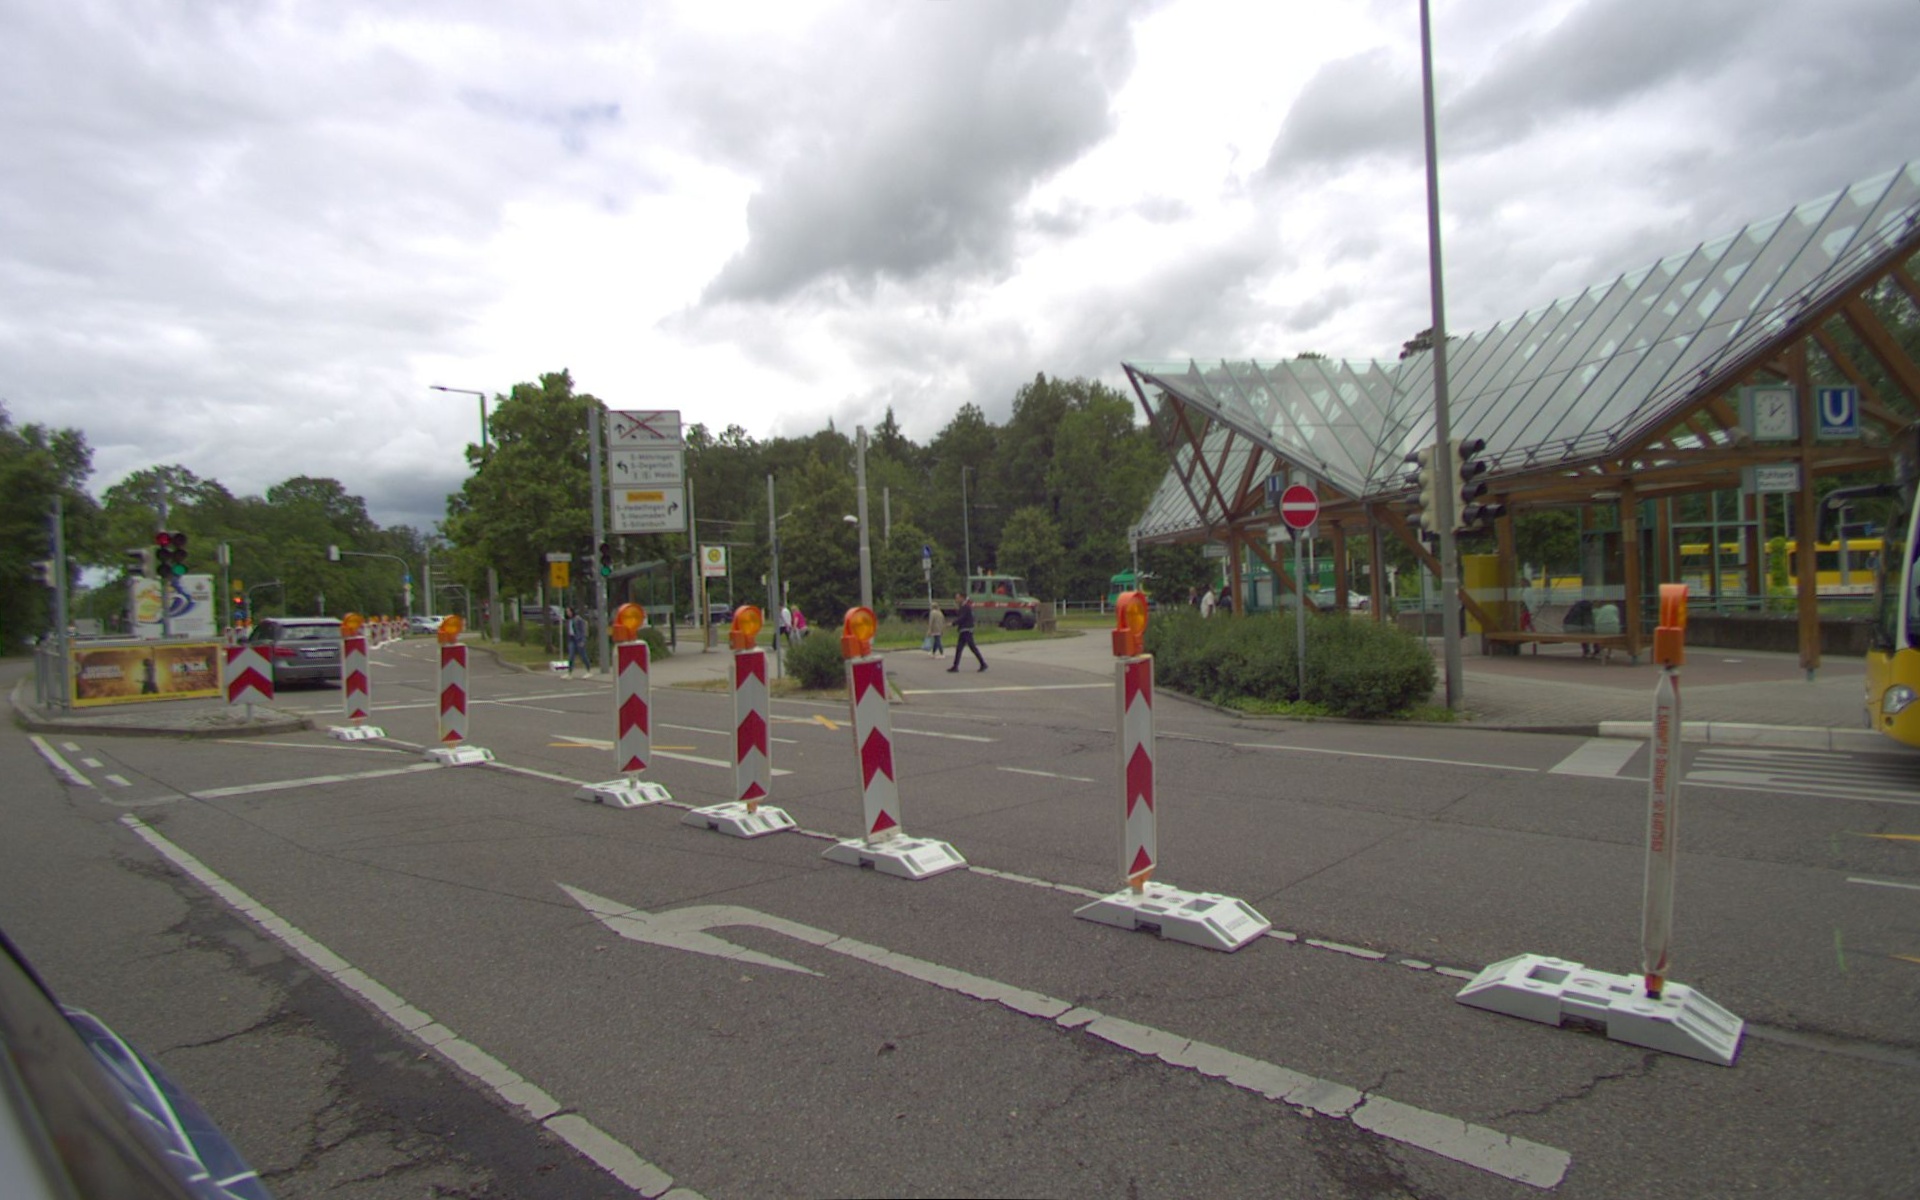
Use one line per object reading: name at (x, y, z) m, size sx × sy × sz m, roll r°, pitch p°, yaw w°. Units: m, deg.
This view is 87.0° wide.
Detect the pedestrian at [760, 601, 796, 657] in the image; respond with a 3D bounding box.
pedestrian at (-5.724, 0.906, 31.834) m, size 0.861 × 1.678 × 0.683 m, roll -3°, pitch 0°, yaw 11°

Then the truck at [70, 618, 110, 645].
truck at (-115.437, 4.155, 134.324) m, size 2.701 × 3.235 × 6.693 m, roll -3°, pitch 0°, yaw -30°

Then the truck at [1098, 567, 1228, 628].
truck at (14.799, -0.163, 73.661) m, size 8.705 × 3.910 × 3.764 m, roll -3°, pitch 0°, yaw 20°

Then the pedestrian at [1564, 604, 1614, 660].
pedestrian at (11.568, 0.584, 18.617) m, size 0.540 × 0.991 × 0.567 m, roll -3°, pitch 0°, yaw -32°

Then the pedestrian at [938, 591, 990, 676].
pedestrian at (0.077, 0.738, 22.597) m, size 0.979 × 1.822 × 0.767 m, roll -3°, pitch 0°, yaw -6°

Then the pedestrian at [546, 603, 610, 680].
pedestrian at (-8.638, 0.929, 22.892) m, size 0.901 × 1.689 × 1.090 m, roll -1°, pitch 0°, yaw 11°

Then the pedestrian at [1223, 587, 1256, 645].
pedestrian at (8.232, 0.471, 29.825) m, size 0.663 × 1.637 × 0.585 m, roll -3°, pitch 0°, yaw -34°

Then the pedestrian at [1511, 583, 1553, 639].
pedestrian at (13.340, 0.252, 23.626) m, size 0.386 × 1.278 × 0.768 m, roll -3°, pitch 0°, yaw -11°

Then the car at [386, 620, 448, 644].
car at (-43.697, 2.538, 81.510) m, size 3.932 × 1.652 × 1.896 m, roll -3°, pitch 0°, yaw 4°

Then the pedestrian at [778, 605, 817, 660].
pedestrian at (-4.862, 0.969, 30.368) m, size 0.772 × 1.563 × 0.784 m, roll -3°, pitch 0°, yaw 30°

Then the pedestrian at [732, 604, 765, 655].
pedestrian at (-6.715, 0.926, 32.071) m, size 0.764 × 1.557 × 0.629 m, roll -3°, pitch 2°, yaw -38°

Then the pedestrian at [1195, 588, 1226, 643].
pedestrian at (7.725, 0.478, 31.225) m, size 0.663 × 1.637 × 0.585 m, roll -3°, pitch 0°, yaw -10°

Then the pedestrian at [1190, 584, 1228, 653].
pedestrian at (5.994, 0.433, 24.405) m, size 0.663 × 1.608 × 0.675 m, roll -3°, pitch 0°, yaw 0°

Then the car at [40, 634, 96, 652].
car at (-91.665, 4.431, 104.022) m, size 4.398 × 1.607 × 1.877 m, roll -3°, pitch 0°, yaw 7°

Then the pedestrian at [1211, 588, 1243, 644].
pedestrian at (8.042, 0.469, 30.467) m, size 0.663 × 1.637 × 0.585 m, roll -3°, pitch 0°, yaw -10°

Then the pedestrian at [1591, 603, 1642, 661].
pedestrian at (11.800, 0.576, 18.196) m, size 0.548 × 0.991 × 0.567 m, roll -3°, pitch 0°, yaw -34°

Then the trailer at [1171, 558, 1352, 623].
trailer at (21.136, -0.624, 71.463) m, size 11.771 × 3.910 × 3.766 m, roll -3°, pitch 0°, yaw 18°

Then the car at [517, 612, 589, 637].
car at (-31.848, 1.903, 79.279) m, size 4.845 × 1.599 × 1.956 m, roll -3°, pitch 0°, yaw 3°

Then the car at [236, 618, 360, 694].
car at (-14.873, 1.168, 22.634) m, size 1.785 × 1.520 × 4.314 m, roll 0°, pitch -1°, yaw -41°

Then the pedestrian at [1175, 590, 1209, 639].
pedestrian at (7.904, 0.495, 34.456) m, size 0.773 × 1.637 × 0.770 m, roll -3°, pitch 0°, yaw -44°

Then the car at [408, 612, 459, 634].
car at (-47.329, 2.071, 91.024) m, size 3.759 × 1.735 × 1.849 m, roll -3°, pitch 0°, yaw 16°

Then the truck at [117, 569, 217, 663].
truck at (-30.166, 0.637, 38.411) m, size 2.597 × 3.263 × 6.214 m, roll 1°, pitch -2°, yaw -42°

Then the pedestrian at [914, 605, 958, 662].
pedestrian at (-0.663, 0.935, 28.285) m, size 0.874 × 1.536 × 0.758 m, roll -3°, pitch 0°, yaw 38°

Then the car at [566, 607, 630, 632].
car at (-31.084, 1.688, 86.984) m, size 4.779 × 1.829 × 1.995 m, roll -3°, pitch 0°, yaw 9°

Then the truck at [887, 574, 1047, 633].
truck at (0.297, 0.153, 43.261) m, size 6.258 × 2.186 × 2.589 m, roll -3°, pitch 0°, yaw 21°

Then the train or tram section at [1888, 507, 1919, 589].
train or tram section at (63.710, -3.397, 55.381) m, size 20.413 × 4.568 × 3.578 m, roll -3°, pitch 0°, yaw 8°

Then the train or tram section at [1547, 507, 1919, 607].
train or tram section at (44.512, -2.406, 58.147) m, size 18.465 × 4.568 × 3.578 m, roll -3°, pitch 0°, yaw 8°

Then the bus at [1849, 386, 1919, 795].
bus at (11.895, -0.183, 5.990) m, size 9.748 × 3.150 × 2.870 m, roll -2°, pitch -1°, yaw 39°
